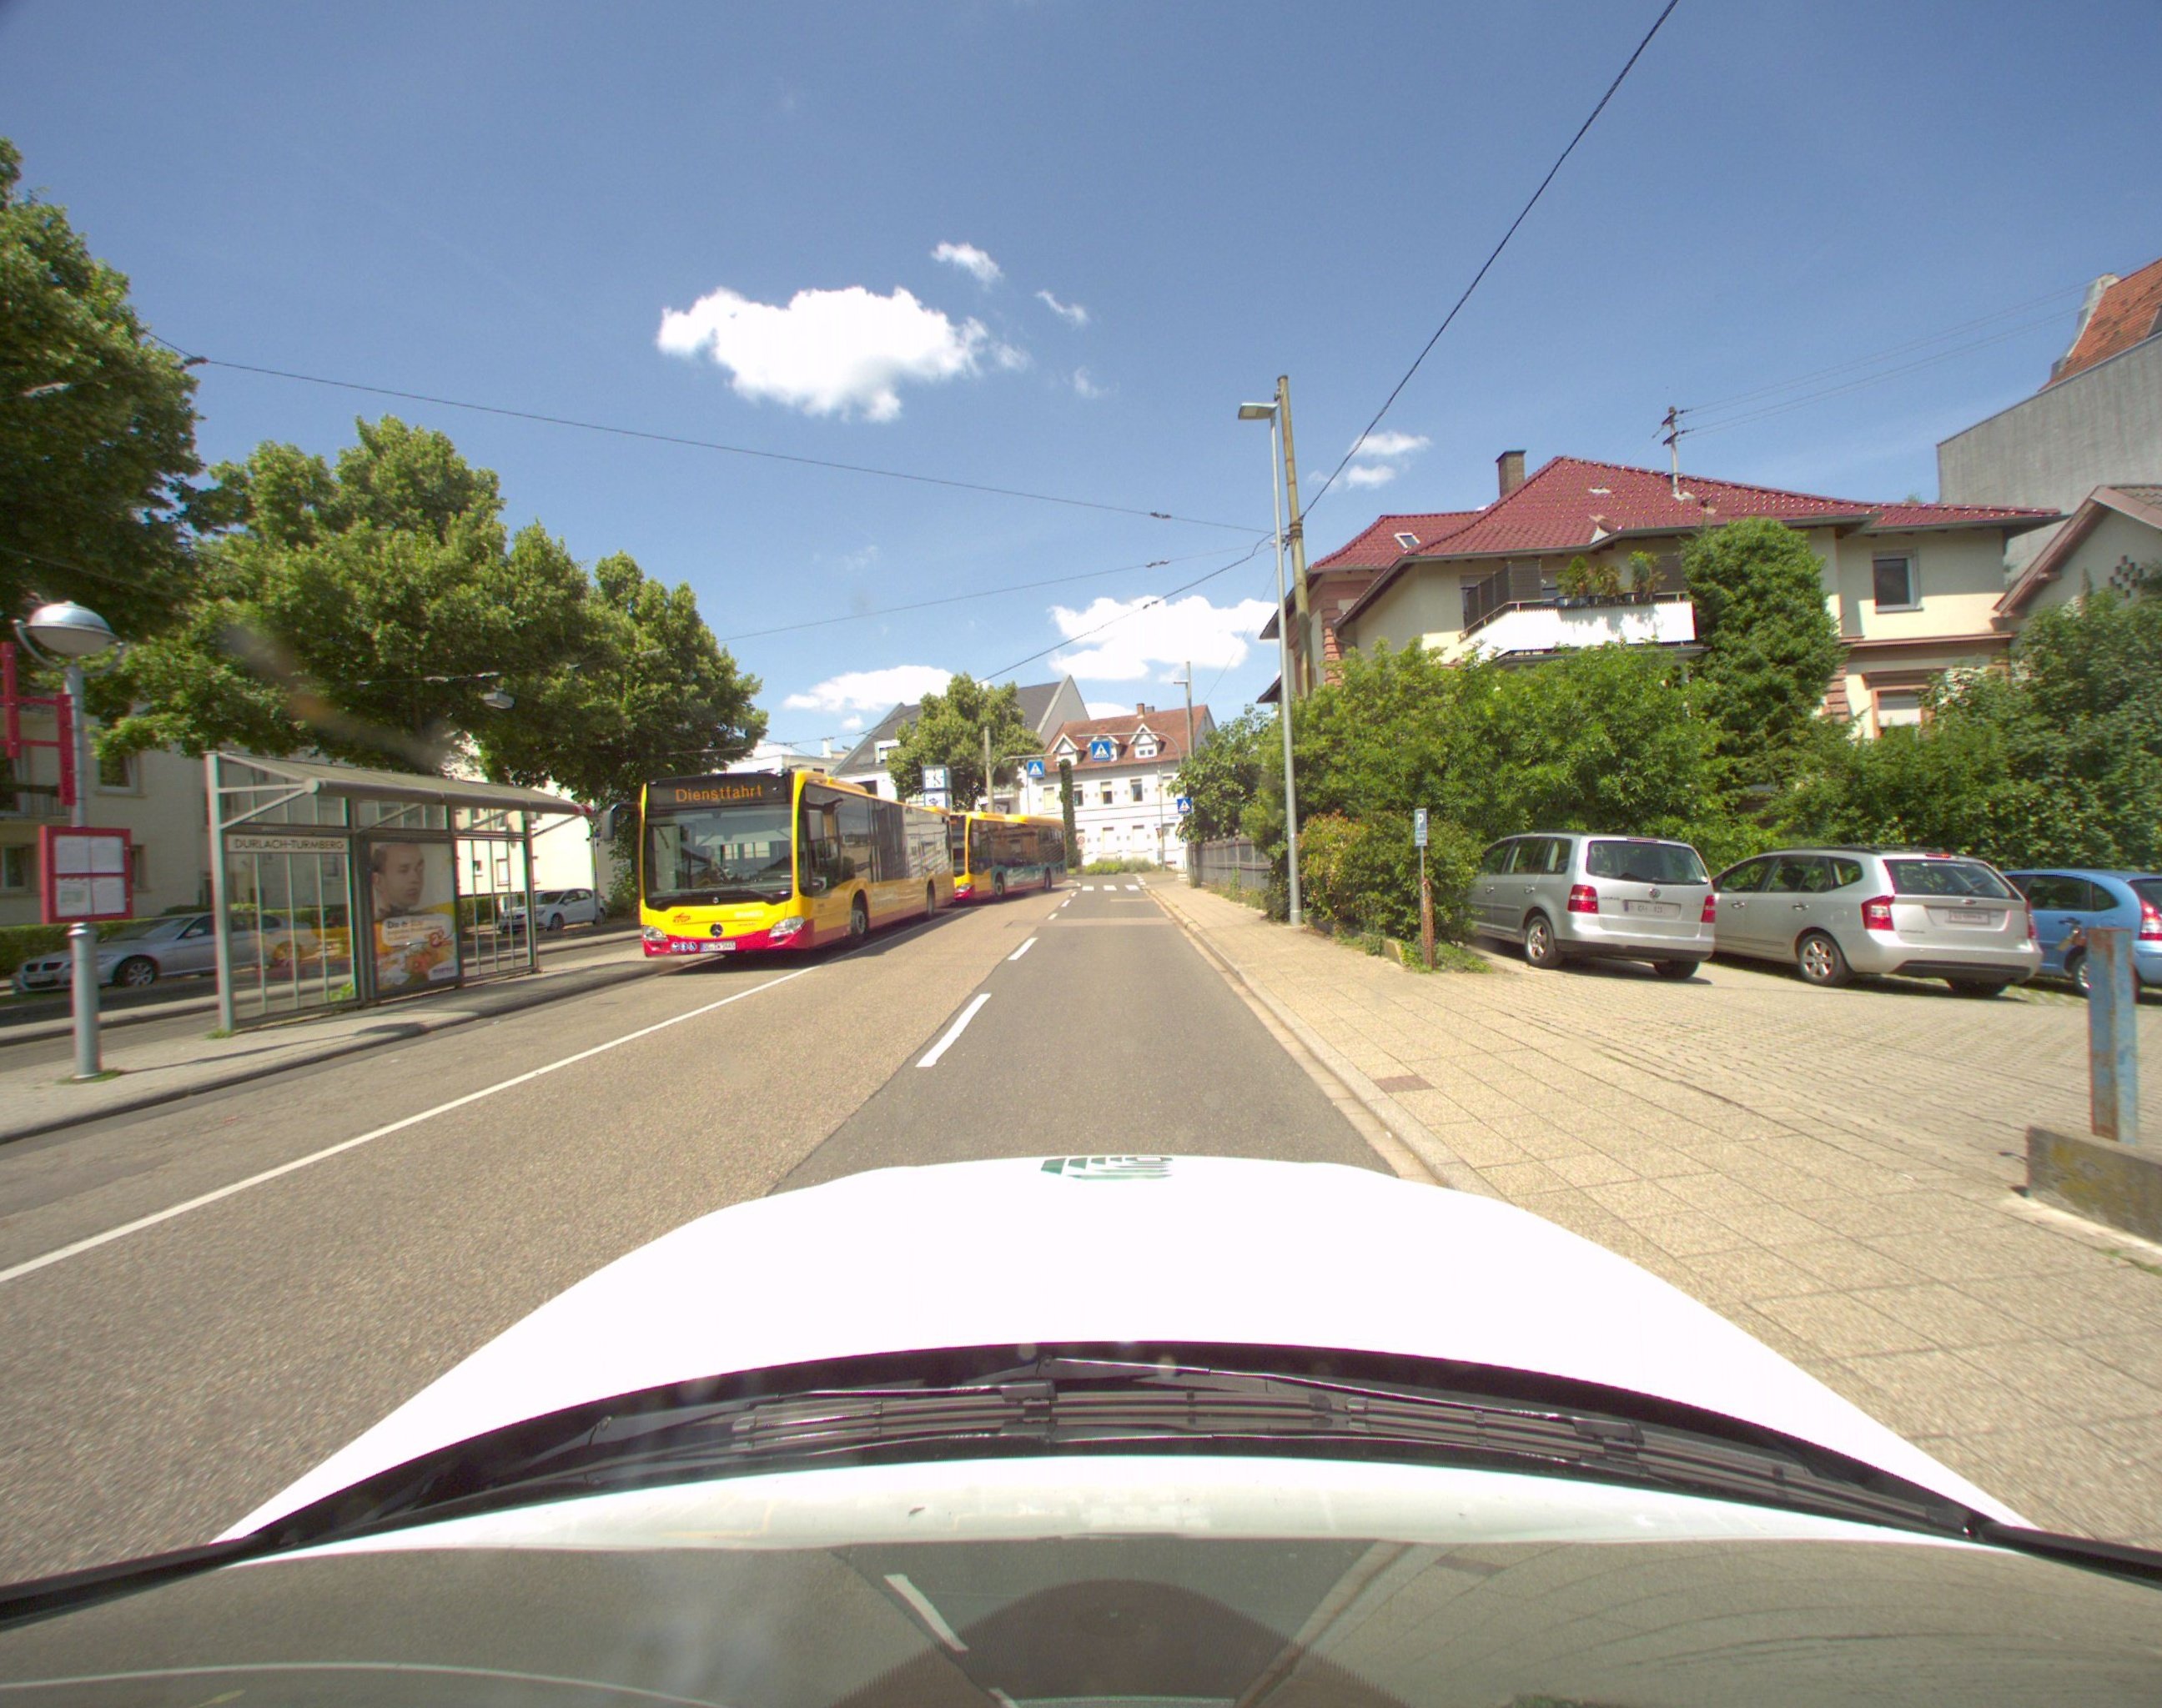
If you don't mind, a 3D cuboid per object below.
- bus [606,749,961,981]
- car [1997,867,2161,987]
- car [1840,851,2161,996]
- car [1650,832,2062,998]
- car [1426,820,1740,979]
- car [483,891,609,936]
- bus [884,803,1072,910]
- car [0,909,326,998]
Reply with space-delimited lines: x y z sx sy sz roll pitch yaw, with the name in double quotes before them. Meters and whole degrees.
"bus" -5.147 0.222 17.678 2.896 3.248 12.122 -1 -1 2
"car" 14.775 0.982 10.715 1.576 1.538 3.585 2 -2 4
"car" 12.546 0.835 10.628 1.753 1.538 4.004 2 -2 4
"car" 9.574 0.692 10.593 1.753 1.668 4.004 2 -2 4
"car" 6.231 0.541 10.733 1.754 1.628 4.001 2 -2 2
"car" -18.065 1.966 27.741 1.709 1.319 3.997 -1 -2 -1
"bus" -3.261 0.016 30.937 2.760 3.208 12.353 -1 0 14
"car" -18.396 1.917 16.666 1.687 1.357 4.402 -1 -2 2
